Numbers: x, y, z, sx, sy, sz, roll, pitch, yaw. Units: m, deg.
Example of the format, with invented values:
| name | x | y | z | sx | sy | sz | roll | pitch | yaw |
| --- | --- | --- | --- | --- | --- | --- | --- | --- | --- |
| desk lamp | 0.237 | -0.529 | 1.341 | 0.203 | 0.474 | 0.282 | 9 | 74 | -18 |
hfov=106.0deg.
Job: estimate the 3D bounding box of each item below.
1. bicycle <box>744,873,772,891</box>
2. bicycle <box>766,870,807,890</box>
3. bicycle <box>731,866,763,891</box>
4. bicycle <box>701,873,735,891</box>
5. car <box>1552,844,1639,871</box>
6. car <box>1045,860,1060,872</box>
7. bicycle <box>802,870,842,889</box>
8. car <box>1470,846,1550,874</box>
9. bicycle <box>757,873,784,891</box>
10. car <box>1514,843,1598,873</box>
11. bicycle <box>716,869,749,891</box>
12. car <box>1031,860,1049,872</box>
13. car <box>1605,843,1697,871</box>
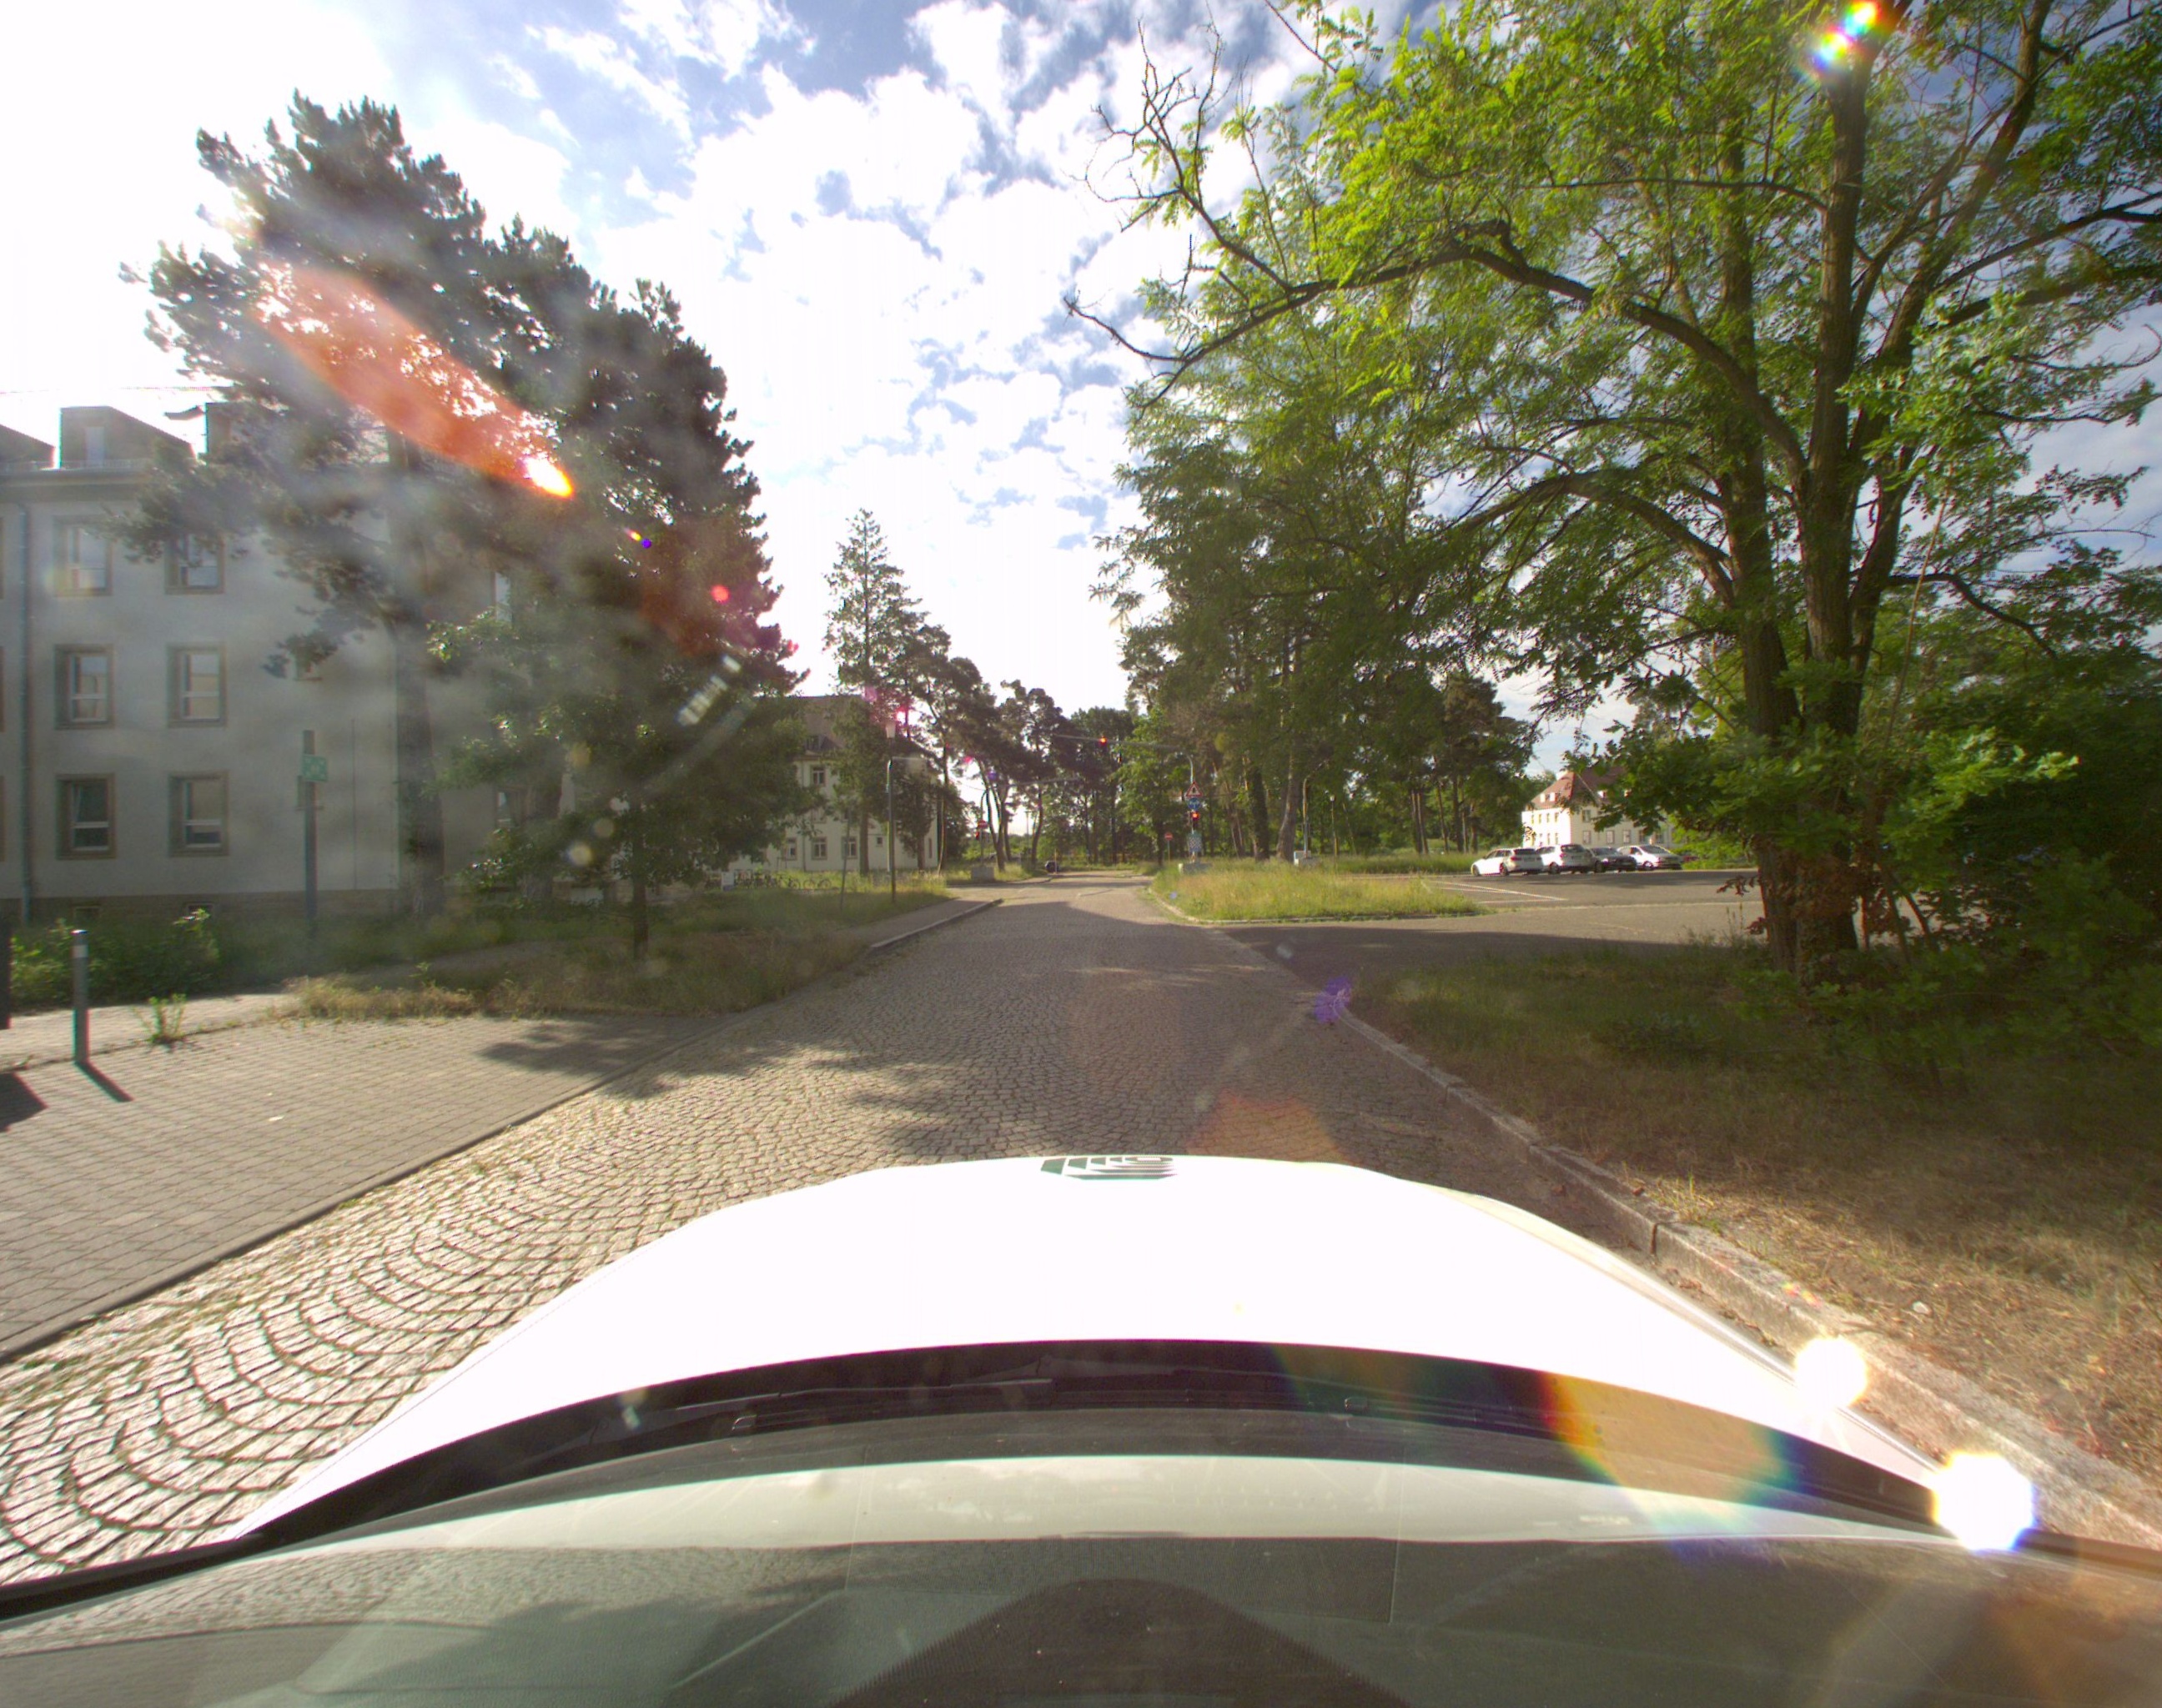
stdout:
| name | x | y | z | sx | sy | sz | roll | pitch | yaw |
| --- | --- | --- | --- | --- | --- | --- | --- | --- | --- |
| bicycle | -19.833 | 1.706 | 49.997 | 0.823 | 1.047 | 2.124 | -2 | 0 | 1 |
| bicycle | -17.628 | 1.558 | 48.774 | 2.112 | 1.108 | 0.828 | -2 | -1 | -3 |
| bicycle | -20.620 | 1.503 | 50.346 | 0.823 | 1.437 | 2.554 | -2 | 0 | 1 |
| bicycle | -22.294 | 1.715 | 50.055 | 0.897 | 1.047 | 2.554 | -2 | 0 | 1 |
| car | 27.002 | 0.193 | 42.928 | 1.726 | 1.312 | 4.328 | -2 | 0 | -2 |
| car | -3.660 | 1.525 | 106.219 | 1.840 | 1.486 | 3.998 | -2 | 0 | -1 |
| bicycle | -15.506 | 1.549 | 48.852 | 2.112 | 1.047 | 0.828 | -2 | -1 | -3 |
| car | 22.182 | 0.309 | 42.265 | 1.726 | 1.312 | 4.328 | -2 | 0 | -2 |
| bicycle | -19.051 | 1.703 | 50.034 | 0.823 | 1.047 | 2.124 | -2 | 0 | 1 |
| car | 24.701 | 0.214 | 42.554 | 1.726 | 1.476 | 4.328 | -2 | 0 | -2 |
| bicycle | -21.396 | 1.595 | 50.049 | 0.823 | 1.281 | 2.554 | -2 | 0 | 1 |
| car | -5.573 | 1.586 | 110.997 | 1.772 | 1.490 | 3.764 | -2 | 0 | 8 |
| car | 30.056 | 0.169 | 43.098 | 1.726 | 1.312 | 4.328 | -2 | 0 | -2 |
